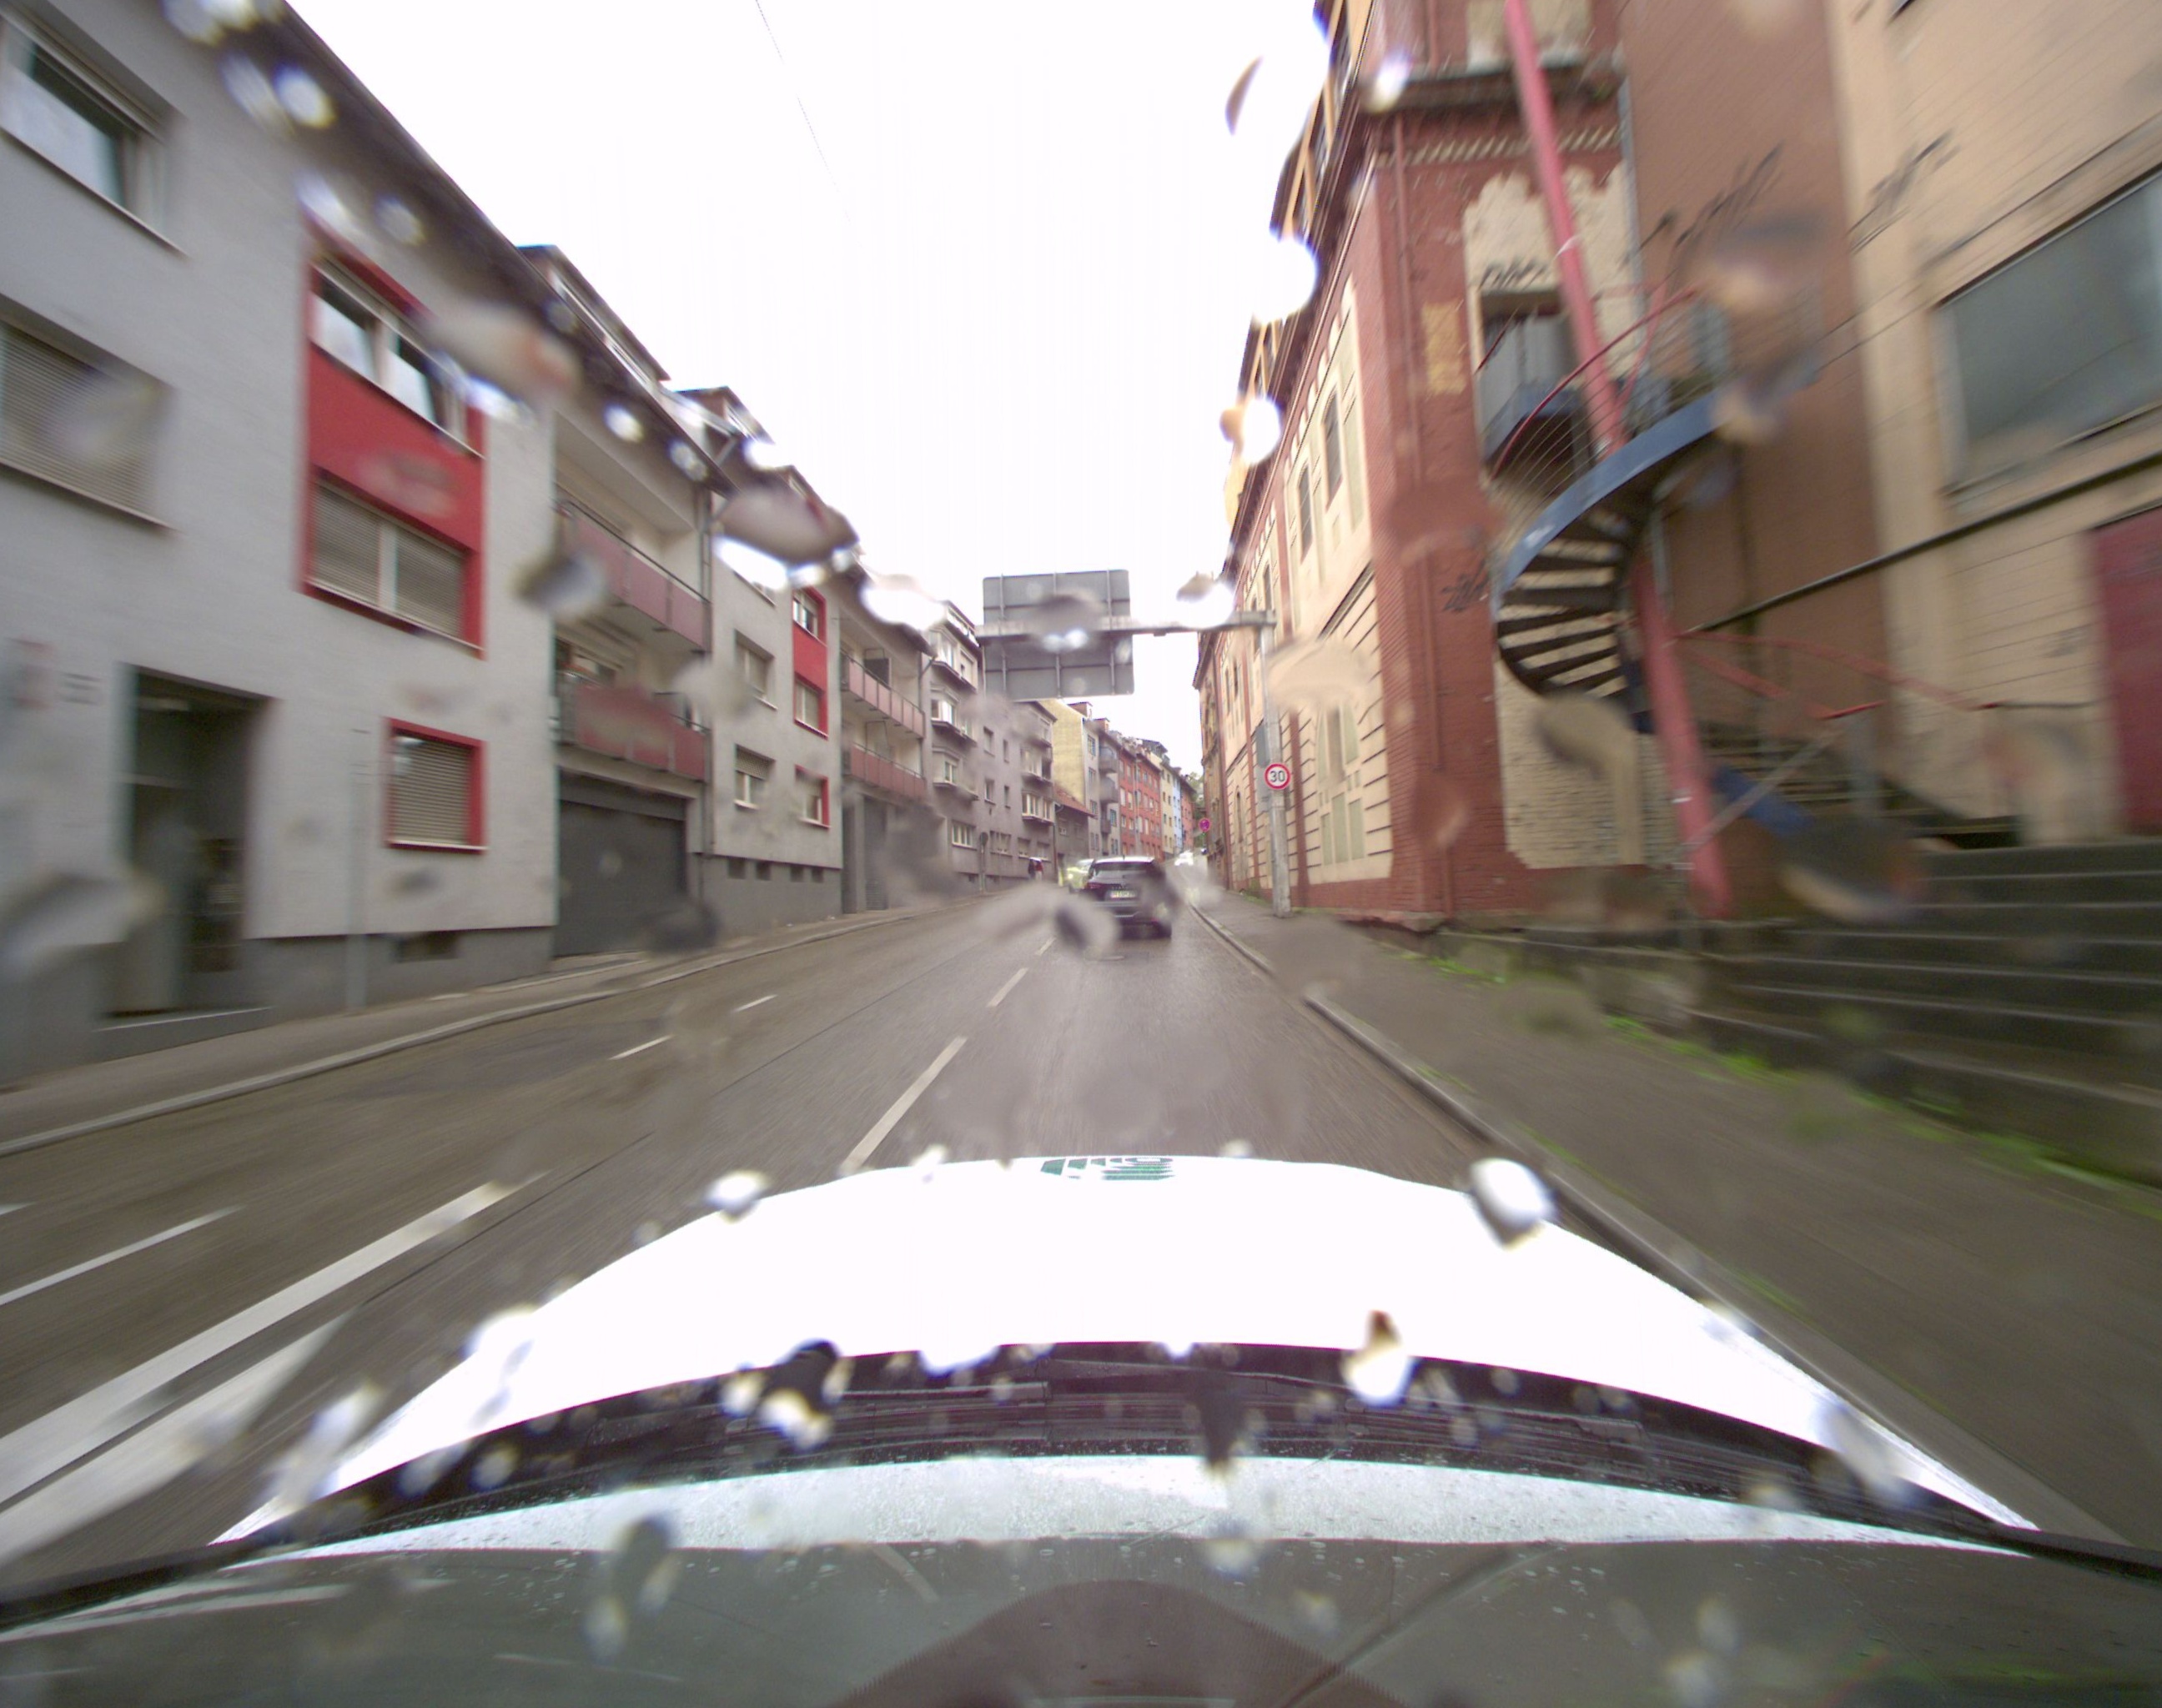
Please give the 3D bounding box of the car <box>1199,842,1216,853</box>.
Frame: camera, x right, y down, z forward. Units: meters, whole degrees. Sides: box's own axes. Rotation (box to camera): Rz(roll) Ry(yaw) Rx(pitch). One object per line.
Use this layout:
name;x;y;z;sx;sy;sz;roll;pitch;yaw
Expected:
car;18.494;-0.913;118.955;1.631;1.378;3.869;-5;0;18

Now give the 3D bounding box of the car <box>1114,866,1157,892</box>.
car;3.635;1.636;53.750;1.780;1.510;4.018;-5;-3;18

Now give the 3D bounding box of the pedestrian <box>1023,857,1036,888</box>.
pedestrian;-3.154;1.124;49.703;0.520;1.776;0.624;-5;0;9

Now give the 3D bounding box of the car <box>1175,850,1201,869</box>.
car;10.381;0.502;79.025;1.750;1.576;4.054;-5;-1;17

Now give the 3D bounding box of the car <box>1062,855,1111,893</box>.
car;0.332;0.939;39.999;1.754;1.657;3.996;-4;-1;8

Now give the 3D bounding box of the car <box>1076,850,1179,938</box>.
car;0.966;0.739;16.842;1.873;1.594;3.925;0;0;3

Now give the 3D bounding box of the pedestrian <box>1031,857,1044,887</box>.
pedestrian;-2.623;1.085;49.624;0.520;1.776;0.624;-5;0;9
